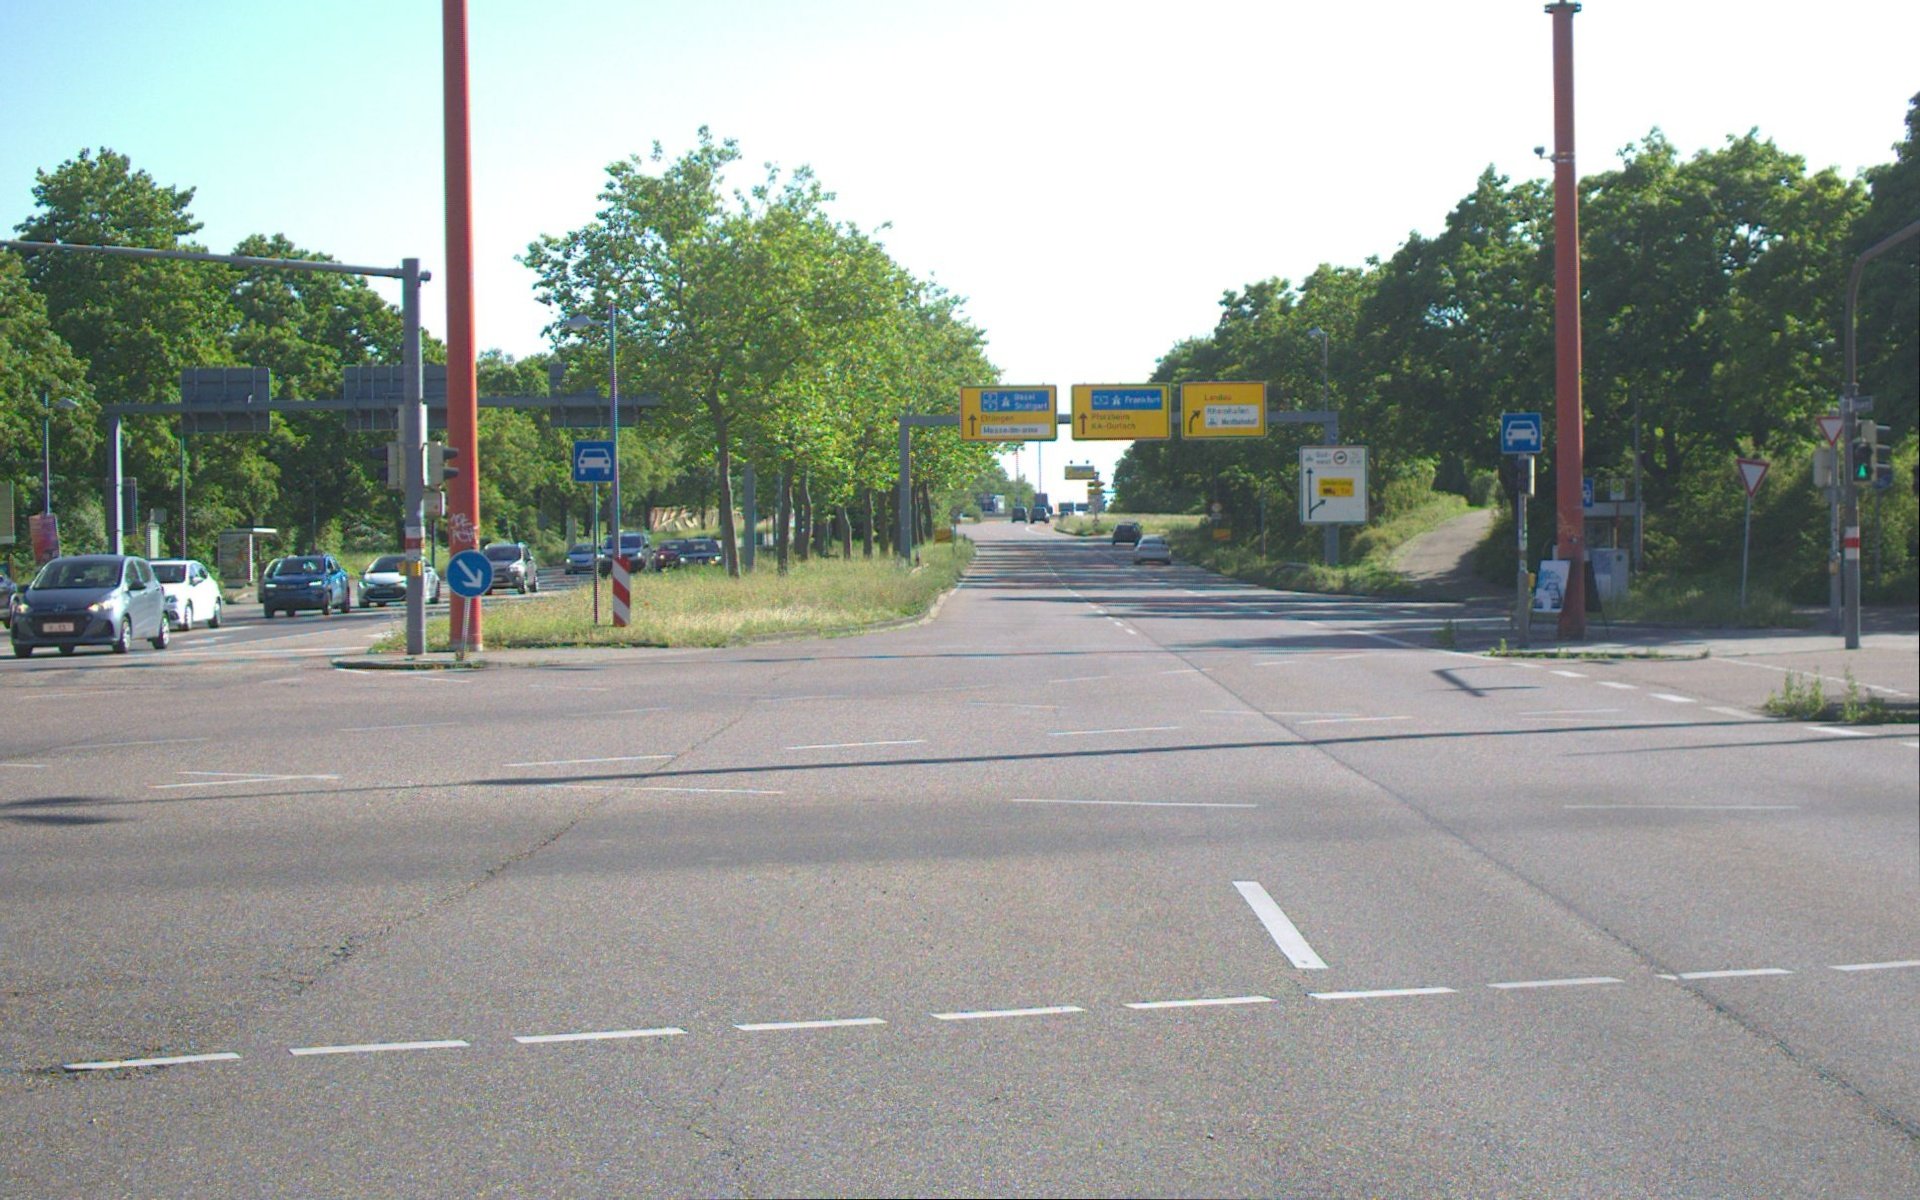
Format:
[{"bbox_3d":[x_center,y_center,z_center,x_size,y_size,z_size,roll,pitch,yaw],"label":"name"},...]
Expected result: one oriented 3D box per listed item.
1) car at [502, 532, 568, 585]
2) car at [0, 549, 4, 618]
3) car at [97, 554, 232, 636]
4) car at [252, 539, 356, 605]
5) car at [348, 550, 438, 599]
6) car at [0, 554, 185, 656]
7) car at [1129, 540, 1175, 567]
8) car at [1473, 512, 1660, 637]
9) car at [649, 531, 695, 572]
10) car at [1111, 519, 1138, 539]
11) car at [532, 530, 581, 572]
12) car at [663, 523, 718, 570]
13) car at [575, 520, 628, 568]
[{"bbox_3d":[-14.283,-1.416,115.786,1.625,1.733,4.000,0,1,1],"label":"car"},{"bbox_3d":[-23.296,-0.380,78.830,1.993,1.633,4.001,0,1,-5],"label":"car"},{"bbox_3d":[-16.114,-0.114,69.812,1.704,1.590,4.000,1,1,2],"label":"car"},{"bbox_3d":[-16.047,-0.690,84.224,1.704,1.553,3.803,1,1,2],"label":"car"},{"bbox_3d":[-15.988,-0.735,97.145,2.003,1.303,4.000,0,1,-2],"label":"car"},{"bbox_3d":[-13.118,0.058,52.142,1.701,1.416,4.000,3,0,1],"label":"car"},{"bbox_3d":[9.899,-2.415,177.268,2.054,1.366,4.392,0,1,-1],"label":"car"},{"bbox_3d":[9.540,-0.418,53.855,1.996,1.881,3.995,0,1,23],"label":"car"},{"bbox_3d":[-13.820,-2.316,165.231,2.003,1.919,4.000,1,1,-2],"label":"car"},{"bbox_3d":[11.302,-4.897,236.193,1.738,1.337,3.081,0,1,1],"label":"car"},{"bbox_3d":[-19.355,-2.346,165.134,2.003,2.007,4.000,1,1,-2],"label":"car"},{"bbox_3d":[-10.203,-2.002,130.347,1.657,1.741,4.000,1,1,2],"label":"car"},{"bbox_3d":[-15.526,-2.415,148.929,2.003,2.007,4.000,1,1,-2],"label":"car"}]
